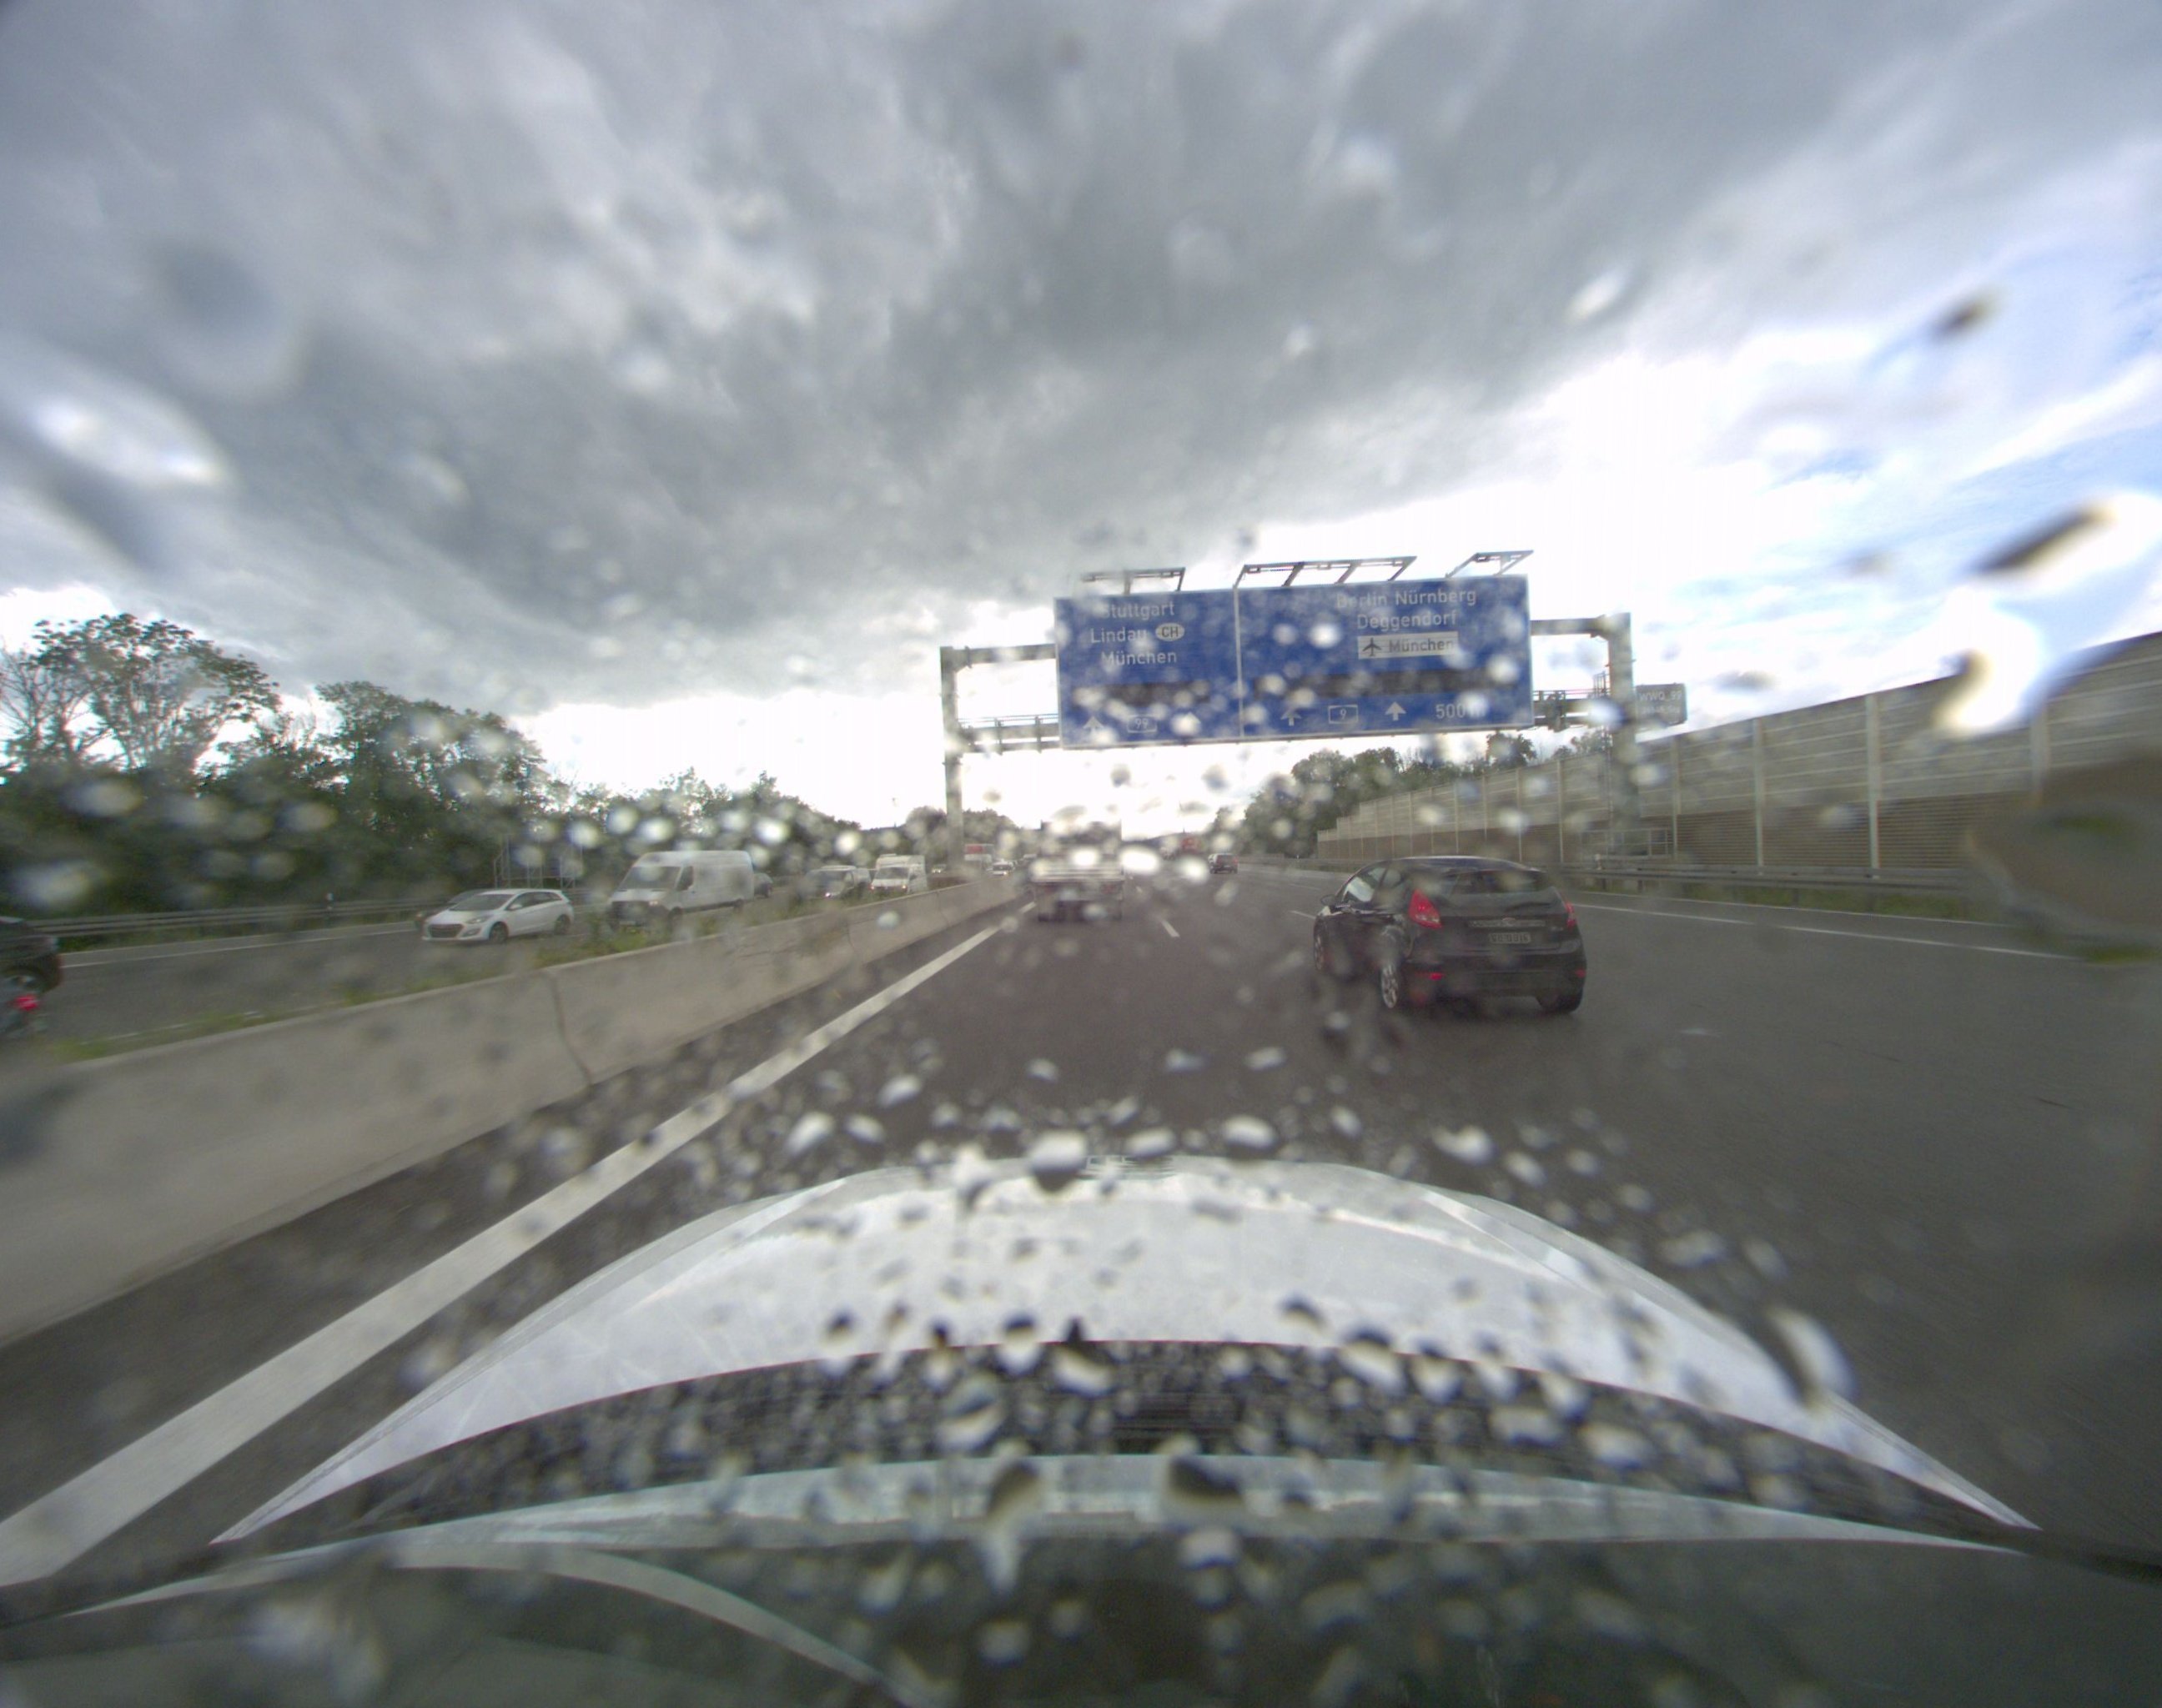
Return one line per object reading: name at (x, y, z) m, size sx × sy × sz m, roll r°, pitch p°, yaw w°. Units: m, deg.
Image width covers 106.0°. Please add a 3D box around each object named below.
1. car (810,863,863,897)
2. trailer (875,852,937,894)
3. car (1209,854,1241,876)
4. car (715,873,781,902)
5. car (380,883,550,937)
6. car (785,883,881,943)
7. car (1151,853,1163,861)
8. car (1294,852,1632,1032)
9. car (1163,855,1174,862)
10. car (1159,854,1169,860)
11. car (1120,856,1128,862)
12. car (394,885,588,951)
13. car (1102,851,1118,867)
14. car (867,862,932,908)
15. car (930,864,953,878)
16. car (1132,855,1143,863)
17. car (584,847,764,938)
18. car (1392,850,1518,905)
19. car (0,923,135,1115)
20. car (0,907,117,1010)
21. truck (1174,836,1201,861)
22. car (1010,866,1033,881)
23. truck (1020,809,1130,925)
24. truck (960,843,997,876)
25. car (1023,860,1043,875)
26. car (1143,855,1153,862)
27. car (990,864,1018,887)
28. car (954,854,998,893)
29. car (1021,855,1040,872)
car at (-16.307, 1.678, 54.597) m, size 1.975 × 2.078 × 4.480 m, roll -2°, pitch 0°, yaw 2°
trailer at (-12.117, 1.260, 56.901) m, size 2.332 × 2.653 × 7.189 m, roll -2°, pitch 0°, yaw 3°
car at (11.168, 0.832, 63.536) m, size 1.875 × 1.542 × 4.436 m, roll -2°, pitch 0°, yaw 3°
car at (-19.873, 1.981, 48.811) m, size 1.975 × 1.494 × 4.480 m, roll -2°, pitch 0°, yaw 2°
car at (-21.000, 1.856, 28.096) m, size 1.975 × 1.494 × 4.915 m, roll -2°, pitch 0°, yaw 2°
car at (-9.354, 2.163, 31.242) m, size 1.811 × 1.904 × 5.426 m, roll -2°, pitch 0°, yaw 2°
car at (15.532, 0.692, 166.883) m, size 1.962 × 1.561 × 4.432 m, roll -2°, pitch 0°, yaw 0°
car at (3.630, 0.729, 8.704) m, size 1.711 × 1.417 × 4.280 m, roll -1°, pitch -1°, yaw 2°
car at (19.867, 0.974, 184.468) m, size 1.962 × 1.561 × 4.432 m, roll -2°, pitch 0°, yaw 0°
car at (21.142, 0.762, 207.814) m, size 1.962 × 1.561 × 4.432 m, roll -2°, pitch 0°, yaw 0°
car at (11.789, 1.270, 223.587) m, size 1.962 × 1.561 × 4.432 m, roll -2°, pitch 0°, yaw 0°
car at (-17.055, 1.787, 23.946) m, size 1.975 × 1.494 × 4.915 m, roll -2°, pitch 0°, yaw 2°
car at (3.290, 0.544, 90.588) m, size 1.710 × 1.624 × 4.282 m, roll -1°, pitch 1°, yaw 3°
car at (-9.002, 1.465, 40.869) m, size 1.811 × 2.078 × 5.377 m, roll -2°, pitch 0°, yaw 2°
car at (-17.536, 2.141, 102.454) m, size 1.887 × 1.593 × 4.905 m, roll -2°, pitch 0°, yaw 2°
car at (11.731, 1.091, 168.414) m, size 1.962 × 1.561 × 4.432 m, roll -2°, pitch 0°, yaw 0°
car at (-13.698, 1.187, 28.245) m, size 2.041 × 2.653 × 7.739 m, roll -2°, pitch 0°, yaw 2°
car at (10.939, 0.643, 24.181) m, size 1.942 × 1.418 × 4.235 m, roll -2°, pitch 0°, yaw 3°
car at (-10.345, 1.478, 5.661) m, size 1.717 × 1.603 × 4.914 m, roll 0°, pitch 0°, yaw 1°
car at (-17.634, 1.670, 11.538) m, size 1.975 × 1.494 × 4.915 m, roll -2°, pitch 0°, yaw 2°
truck at (16.574, -0.895, 127.518) m, size 3.139 × 3.601 × 12.709 m, roll 0°, pitch 0°, yaw 3°
car at (-6.119, 1.981, 84.394) m, size 1.887 × 1.460 × 4.480 m, roll -2°, pitch 0°, yaw 2°
truck at (-0.008, 0.268, 20.978) m, size 2.298 × 2.439 × 7.151 m, roll -1°, pitch 0°, yaw 2°
truck at (-13.671, 0.769, 109.733) m, size 2.787 × 4.112 × 12.302 m, roll -2°, pitch 0°, yaw 2°
car at (-6.006, 1.692, 101.906) m, size 1.887 × 1.801 × 5.844 m, roll -2°, pitch 0°, yaw 2°
car at (15.644, 1.159, 189.763) m, size 1.962 × 1.561 × 4.430 m, roll -2°, pitch 0°, yaw -1°
car at (-6.974, 1.942, 74.351) m, size 1.811 × 1.952 × 5.225 m, roll -2°, pitch 0°, yaw 2°
car at (-7.793, 1.416, 60.933) m, size 2.016 × 2.678 × 7.314 m, roll -2°, pitch 0°, yaw 2°
car at (-8.257, 1.517, 133.622) m, size 2.118 × 2.636 × 7.617 m, roll -2°, pitch 0°, yaw 4°
